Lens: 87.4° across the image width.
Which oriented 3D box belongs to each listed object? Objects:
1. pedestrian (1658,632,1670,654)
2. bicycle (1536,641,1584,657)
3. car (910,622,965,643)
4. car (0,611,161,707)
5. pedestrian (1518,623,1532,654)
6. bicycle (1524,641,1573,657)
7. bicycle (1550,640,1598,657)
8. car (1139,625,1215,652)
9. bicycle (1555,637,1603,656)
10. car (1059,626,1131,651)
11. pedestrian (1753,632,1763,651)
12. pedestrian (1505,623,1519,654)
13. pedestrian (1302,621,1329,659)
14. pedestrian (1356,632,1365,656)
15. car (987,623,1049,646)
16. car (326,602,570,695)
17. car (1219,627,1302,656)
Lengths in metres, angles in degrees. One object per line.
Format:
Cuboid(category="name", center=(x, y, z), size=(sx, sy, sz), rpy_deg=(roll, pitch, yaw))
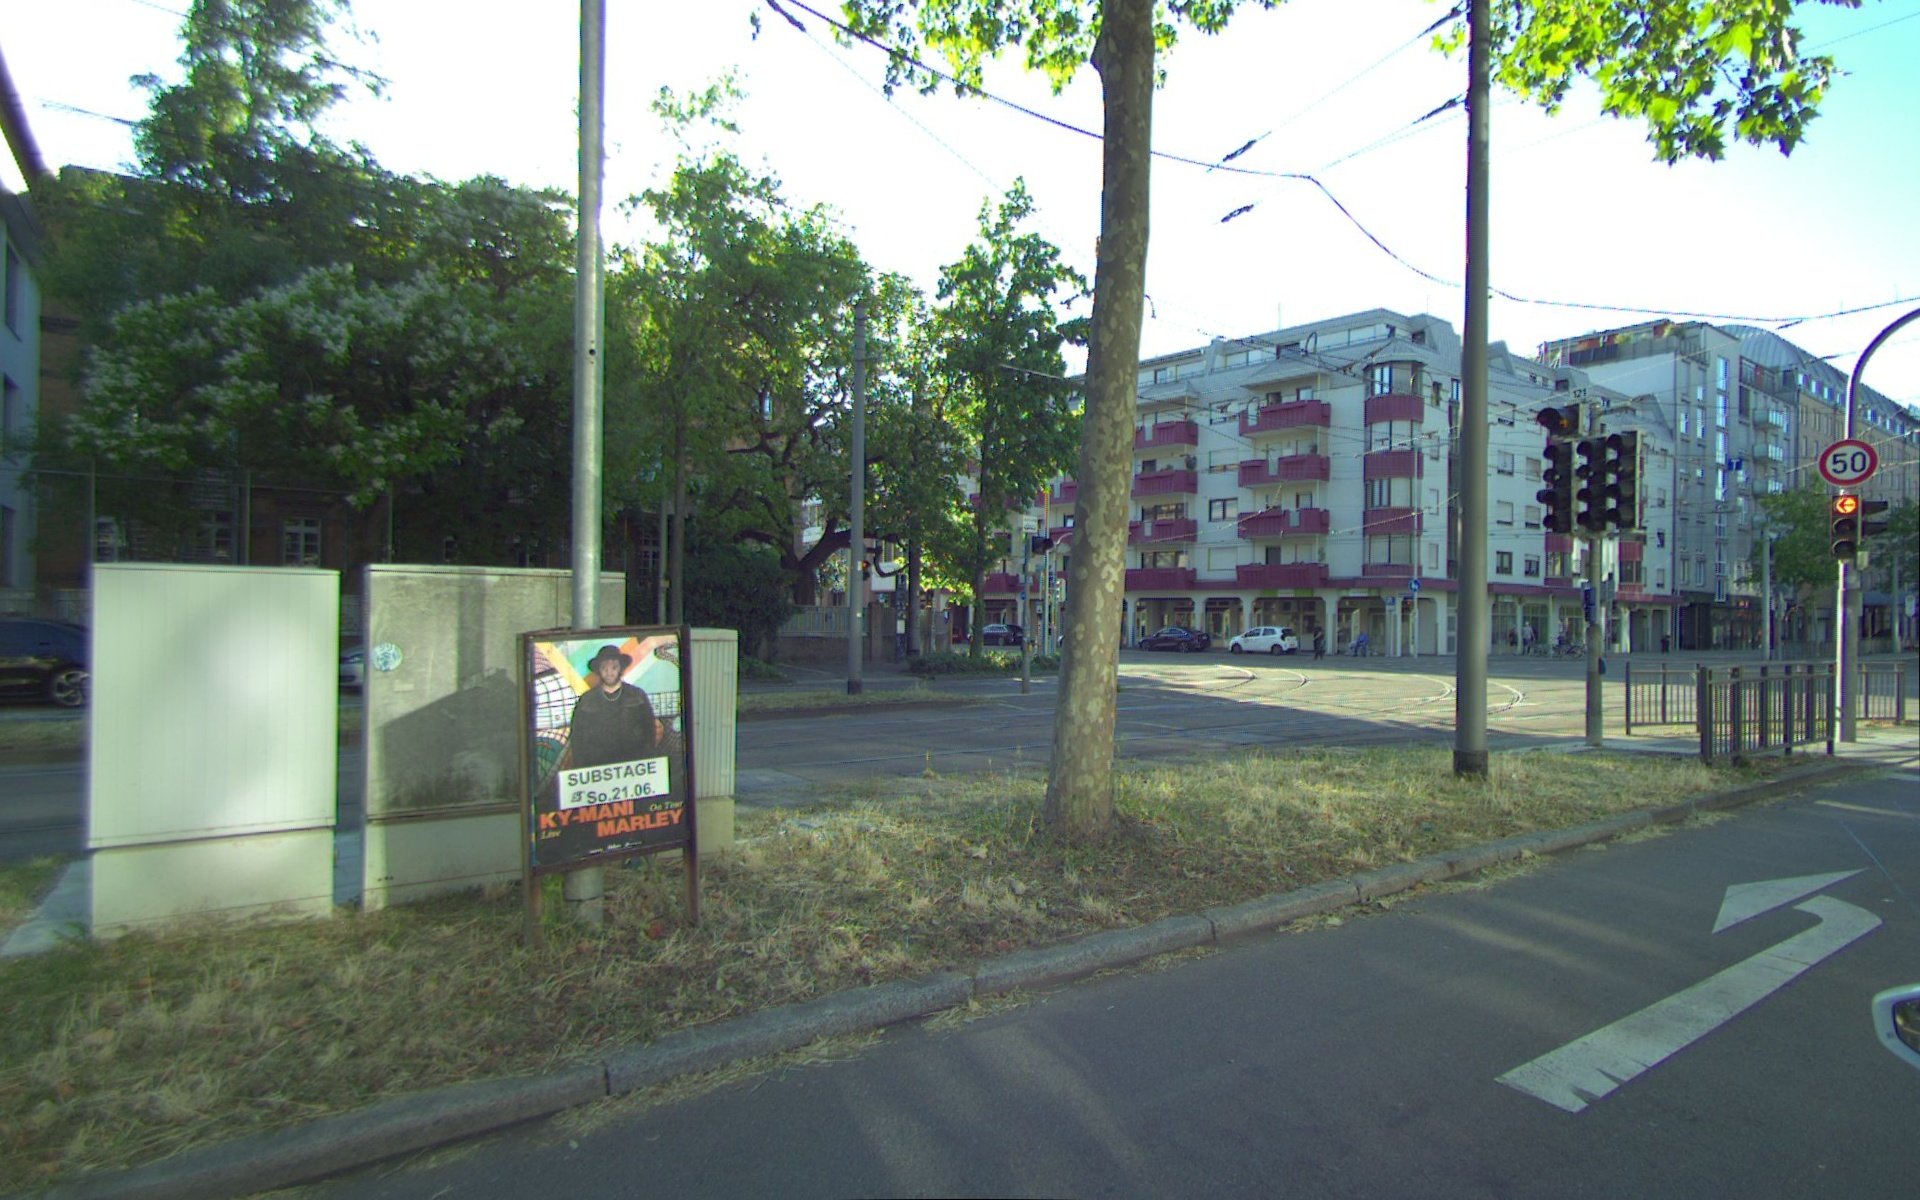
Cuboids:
Cuboid(category="pedestrian", center=(46.061, 2.805, 65.704), size=(0.524, 1.478, 0.506), rpy_deg=(1, -1, -41))
Cuboid(category="bicycle", center=(31.538, 2.575, 52.824), size=(0.487, 0.797, 2.153), rpy_deg=(1, -2, -38))
Cuboid(category="car", center=(-1.620, 2.349, 72.837), size=(1.790, 1.483, 3.947), rpy_deg=(2, -2, -45))
Cuboid(category="car", center=(-15.778, 0.915, 16.081), size=(4.608, 1.495, 1.979), rpy_deg=(1, -1, -38))
Cuboid(category="pedestrian", center=(31.107, 2.117, 55.270), size=(0.523, 1.721, 0.506), rpy_deg=(1, -1, -37))
Cuboid(category="bicycle", center=(30.785, 2.555, 52.591), size=(0.635, 0.797, 2.153), rpy_deg=(1, -2, -38))
Cuboid(category="bicycle", center=(32.704, 2.576, 53.499), size=(0.523, 0.835, 2.153), rpy_deg=(1, -2, -38))
Cuboid(category="car", center=(12.398, 2.171, 57.539), size=(3.944, 1.483, 1.791), rpy_deg=(-2, -2, 43))
Cuboid(category="bicycle", center=(33.195, 2.503, 53.912), size=(0.487, 0.963, 2.153), rpy_deg=(1, -2, -38))
Cuboid(category="car", center=(8.311, 2.344, 62.011), size=(1.790, 1.483, 4.215), rpy_deg=(2, -2, -45))
Cuboid(category="pedestrian", center=(60.937, 3.165, 76.710), size=(0.523, 1.478, 0.506), rpy_deg=(1, -1, -37))
Cuboid(category="pedestrian", center=(30.594, 2.136, 55.673), size=(0.523, 1.721, 0.506), rpy_deg=(1, -1, -37))
Cuboid(category="pedestrian", center=(15.828, 1.762, 44.700), size=(1.025, 1.684, 0.702), rpy_deg=(1, -2, -40))
Cuboid(category="pedestrian", center=(20.304, 2.224, 50.961), size=(0.316, 1.230, 0.301), rpy_deg=(1, -2, -40))
Cuboid(category="car", center=(3.866, 2.275, 67.016), size=(1.790, 1.483, 3.947), rpy_deg=(2, -2, -45))
Cuboid(category="car", center=(-10.377, 0.941, 20.485), size=(4.140, 1.711, 1.979), rpy_deg=(1, -1, -38))
Cuboid(category="car", center=(16.094, 2.210, 53.913), size=(3.945, 1.483, 1.791), rpy_deg=(-2, -2, 44))
